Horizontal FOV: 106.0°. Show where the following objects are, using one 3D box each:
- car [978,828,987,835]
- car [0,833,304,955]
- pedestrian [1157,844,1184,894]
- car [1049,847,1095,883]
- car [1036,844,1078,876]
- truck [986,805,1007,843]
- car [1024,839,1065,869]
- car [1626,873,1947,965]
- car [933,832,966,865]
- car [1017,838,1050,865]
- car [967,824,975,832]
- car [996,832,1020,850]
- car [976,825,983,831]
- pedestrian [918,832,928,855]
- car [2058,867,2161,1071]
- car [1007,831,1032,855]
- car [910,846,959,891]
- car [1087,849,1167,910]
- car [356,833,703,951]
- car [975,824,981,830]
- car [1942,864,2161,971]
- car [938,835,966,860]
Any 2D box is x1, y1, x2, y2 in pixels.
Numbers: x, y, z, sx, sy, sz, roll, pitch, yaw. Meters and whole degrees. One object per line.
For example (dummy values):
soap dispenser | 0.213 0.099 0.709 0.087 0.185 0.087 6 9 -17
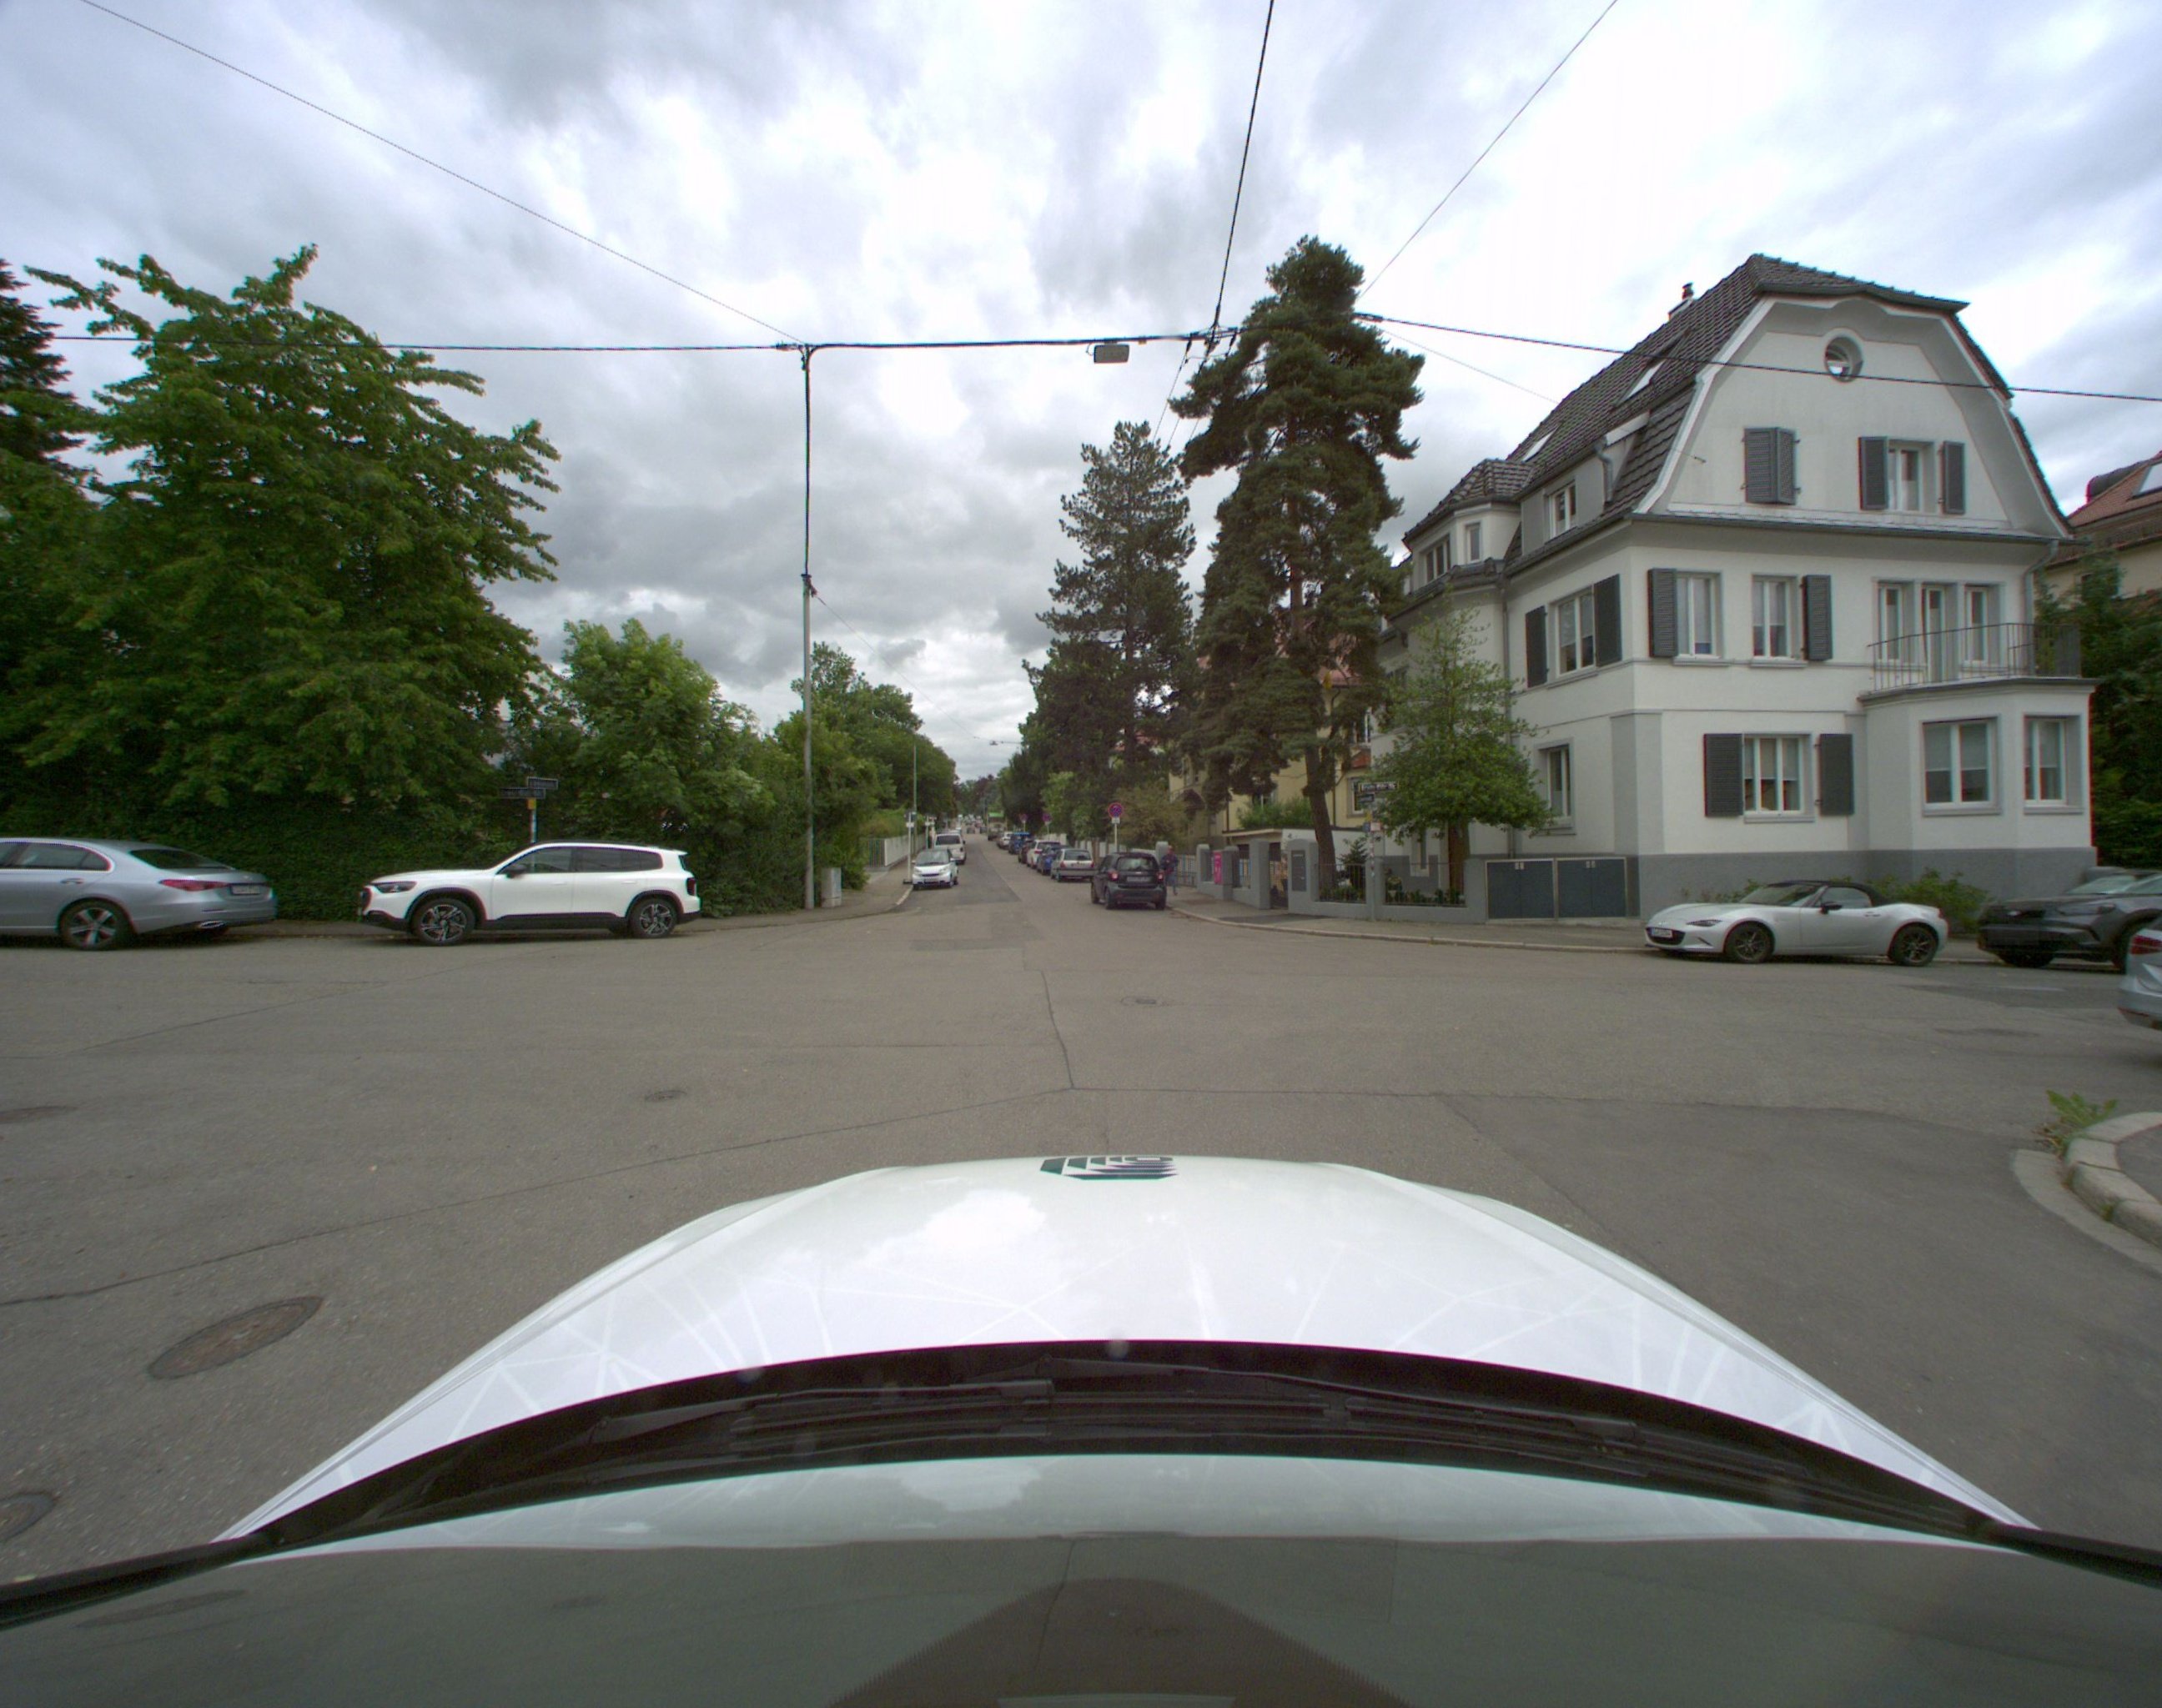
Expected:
car | -21.323 -4.886 176.435 1.778 1.488 3.988 -1 2 -9
car | -13.936 0.488 11.039 4.506 1.437 1.826 3 -1 -15
pedestrian | 2.892 0.476 26.406 0.679 1.577 0.906 -3 0 -2
car | -0.439 0.433 35.308 1.573 1.400 3.646 1 2 -8
car | -1.246 0.269 40.306 1.646 1.458 4.041 0 1 -8
truck | -11.185 -3.941 107.341 2.523 4.747 7.169 0 2 -8
car | -2.132 -0.034 46.552 1.785 1.603 4.291 1 2 -10
car | 10.678 0.961 12.542 3.454 1.261 1.672 1 -2 2
car | -8.298 -0.411 51.715 1.853 1.913 4.607 -3 2 -8
car | -3.105 -0.212 52.333 1.749 1.607 4.064 1 1 -9
car | -23.576 -5.550 174.708 1.633 1.701 3.484 0 3 -9
car | -6.912 -1.250 77.083 1.759 1.605 4.557 0 2 -12
car | -27.422 -7.061 219.299 1.810 1.335 3.622 1 3 -9
pedestrian | -14.388 -0.954 74.147 0.811 2.013 0.858 0 2 -8
car | 9.945 0.855 5.525 4.326 1.449 1.766 0 1 4
car | -5.063 -0.946 66.498 1.682 1.829 4.145 1 2 -9
car | -5.782 0.534 32.383 1.439 1.552 2.768 -4 2 -1
car | 1.235 0.681 23.024 1.572 1.531 2.857 2 1 -11
car | -9.061 0.565 13.689 4.540 1.655 1.812 2 0 -45
car | -28.814 -7.492 228.053 1.788 1.529 3.726 0 2 -7
car | 15.724 0.942 11.916 4.167 1.443 1.674 1 -3 7
car | -9.122 -0.485 57.355 1.791 1.623 4.328 -2 2 -11
